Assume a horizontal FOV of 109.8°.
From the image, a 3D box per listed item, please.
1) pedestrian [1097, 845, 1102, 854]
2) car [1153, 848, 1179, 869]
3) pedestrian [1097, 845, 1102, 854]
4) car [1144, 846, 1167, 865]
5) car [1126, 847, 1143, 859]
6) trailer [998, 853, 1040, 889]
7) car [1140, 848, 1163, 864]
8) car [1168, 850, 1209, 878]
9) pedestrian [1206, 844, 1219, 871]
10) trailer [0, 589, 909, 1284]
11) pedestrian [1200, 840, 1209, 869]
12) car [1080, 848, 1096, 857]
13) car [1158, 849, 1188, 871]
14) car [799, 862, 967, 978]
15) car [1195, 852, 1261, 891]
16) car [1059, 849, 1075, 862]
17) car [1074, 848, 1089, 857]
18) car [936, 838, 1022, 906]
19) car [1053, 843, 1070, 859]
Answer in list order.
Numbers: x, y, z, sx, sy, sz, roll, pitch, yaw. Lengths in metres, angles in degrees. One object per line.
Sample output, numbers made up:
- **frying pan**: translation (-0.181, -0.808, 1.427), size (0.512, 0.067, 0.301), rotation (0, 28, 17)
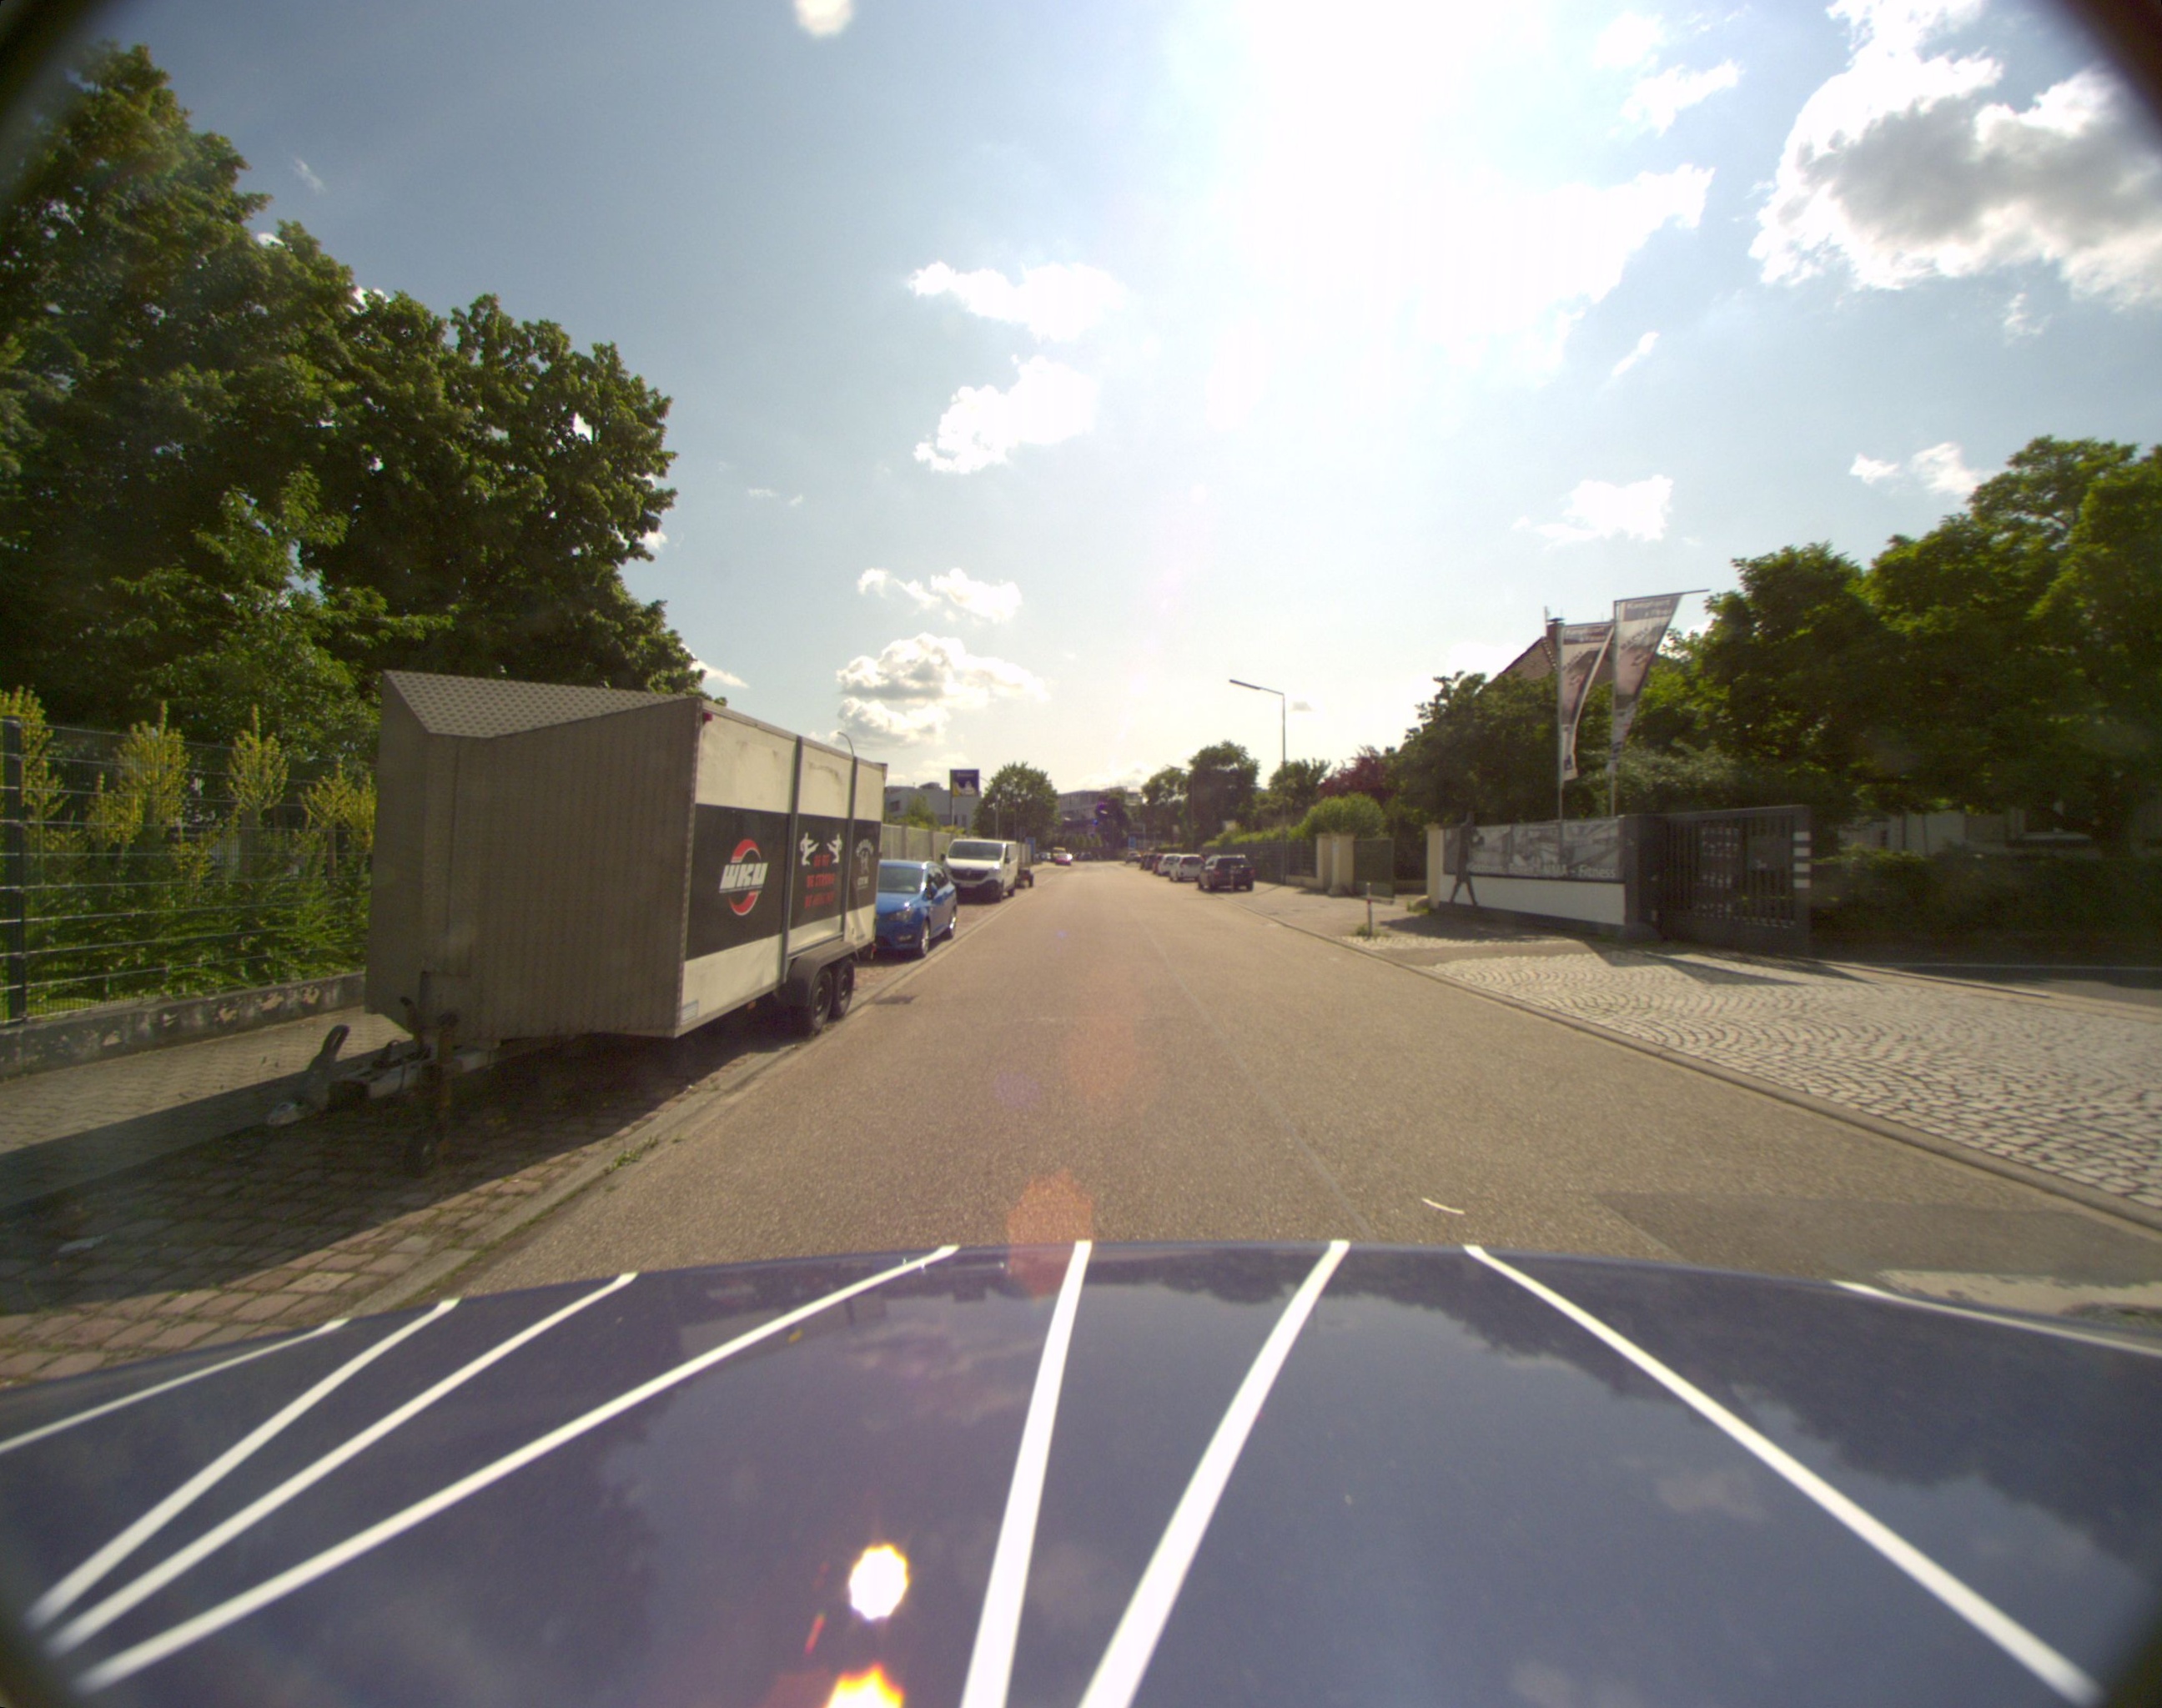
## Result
- **pedestrian**: translation (3.566, -0.906, 144.370), size (0.845, 1.682, 0.830), rotation (-2, 1, -8)
- **car**: translation (6.402, 0.314, 57.778), size (1.670, 1.458, 3.743), rotation (-1, 1, 2)
- **pedestrian**: translation (3.520, -0.922, 145.500), size (0.831, 1.751, 0.844), rotation (-2, 1, -8)
- **car**: translation (6.824, 0.110, 69.899), size (1.655, 1.636, 3.273), rotation (-3, 1, -1)
- **car**: translation (7.344, -0.177, 104.411), size (1.762, 1.565, 4.475), rotation (-1, 1, -3)
- **trailer**: translation (-2.862, 0.757, 35.448), size (1.754, 1.409, 4.547), rotation (3, 1, -4)
- **car**: translation (6.864, 0.190, 74.564), size (1.849, 1.499, 4.000), rotation (-3, 1, 1)
- **car**: translation (6.139, 0.533, 43.823), size (1.624, 1.513, 4.174), rotation (0, 0, -2)
- **pedestrian**: translation (8.763, 0.210, 50.650), size (0.710, 1.791, 0.916), rotation (0, 1, 1)
- **trailer**: translation (-3.299, 0.299, 6.199), size (2.210, 2.721, 6.220), rotation (3, 1, 1)
- **pedestrian**: translation (8.166, 0.044, 50.207), size (0.452, 1.883, 0.677), rotation (0, 2, 1)
- **car**: translation (1.286, -0.269, 145.032), size (1.806, 1.641, 4.683), rotation (-1, 1, -14)
- **car**: translation (6.374, 0.388, 53.062), size (1.649, 1.469, 4.028), rotation (0, 1, 0)
- **car**: translation (-3.102, 0.955, 12.748), size (1.695, 1.452, 4.070), rotation (3, 1, 0)
- **car**: translation (5.994, 0.657, 31.441), size (1.810, 1.410, 4.496), rotation (-2, 0, 0)
- **car**: translation (-1.694, 0.181, 93.337), size (1.758, 1.478, 4.224), rotation (4, 1, 1)
- **car**: translation (0.085, -0.239, 150.470), size (1.782, 1.673, 4.224), rotation (-2, 1, -14)
- **car**: translation (-3.256, 0.505, 25.410), size (1.998, 2.002, 5.649), rotation (1, 1, 1)
- **car**: translation (-3.007, -0.516, 117.758), size (2.163, 2.450, 6.635), rotation (1, 1, -5)
